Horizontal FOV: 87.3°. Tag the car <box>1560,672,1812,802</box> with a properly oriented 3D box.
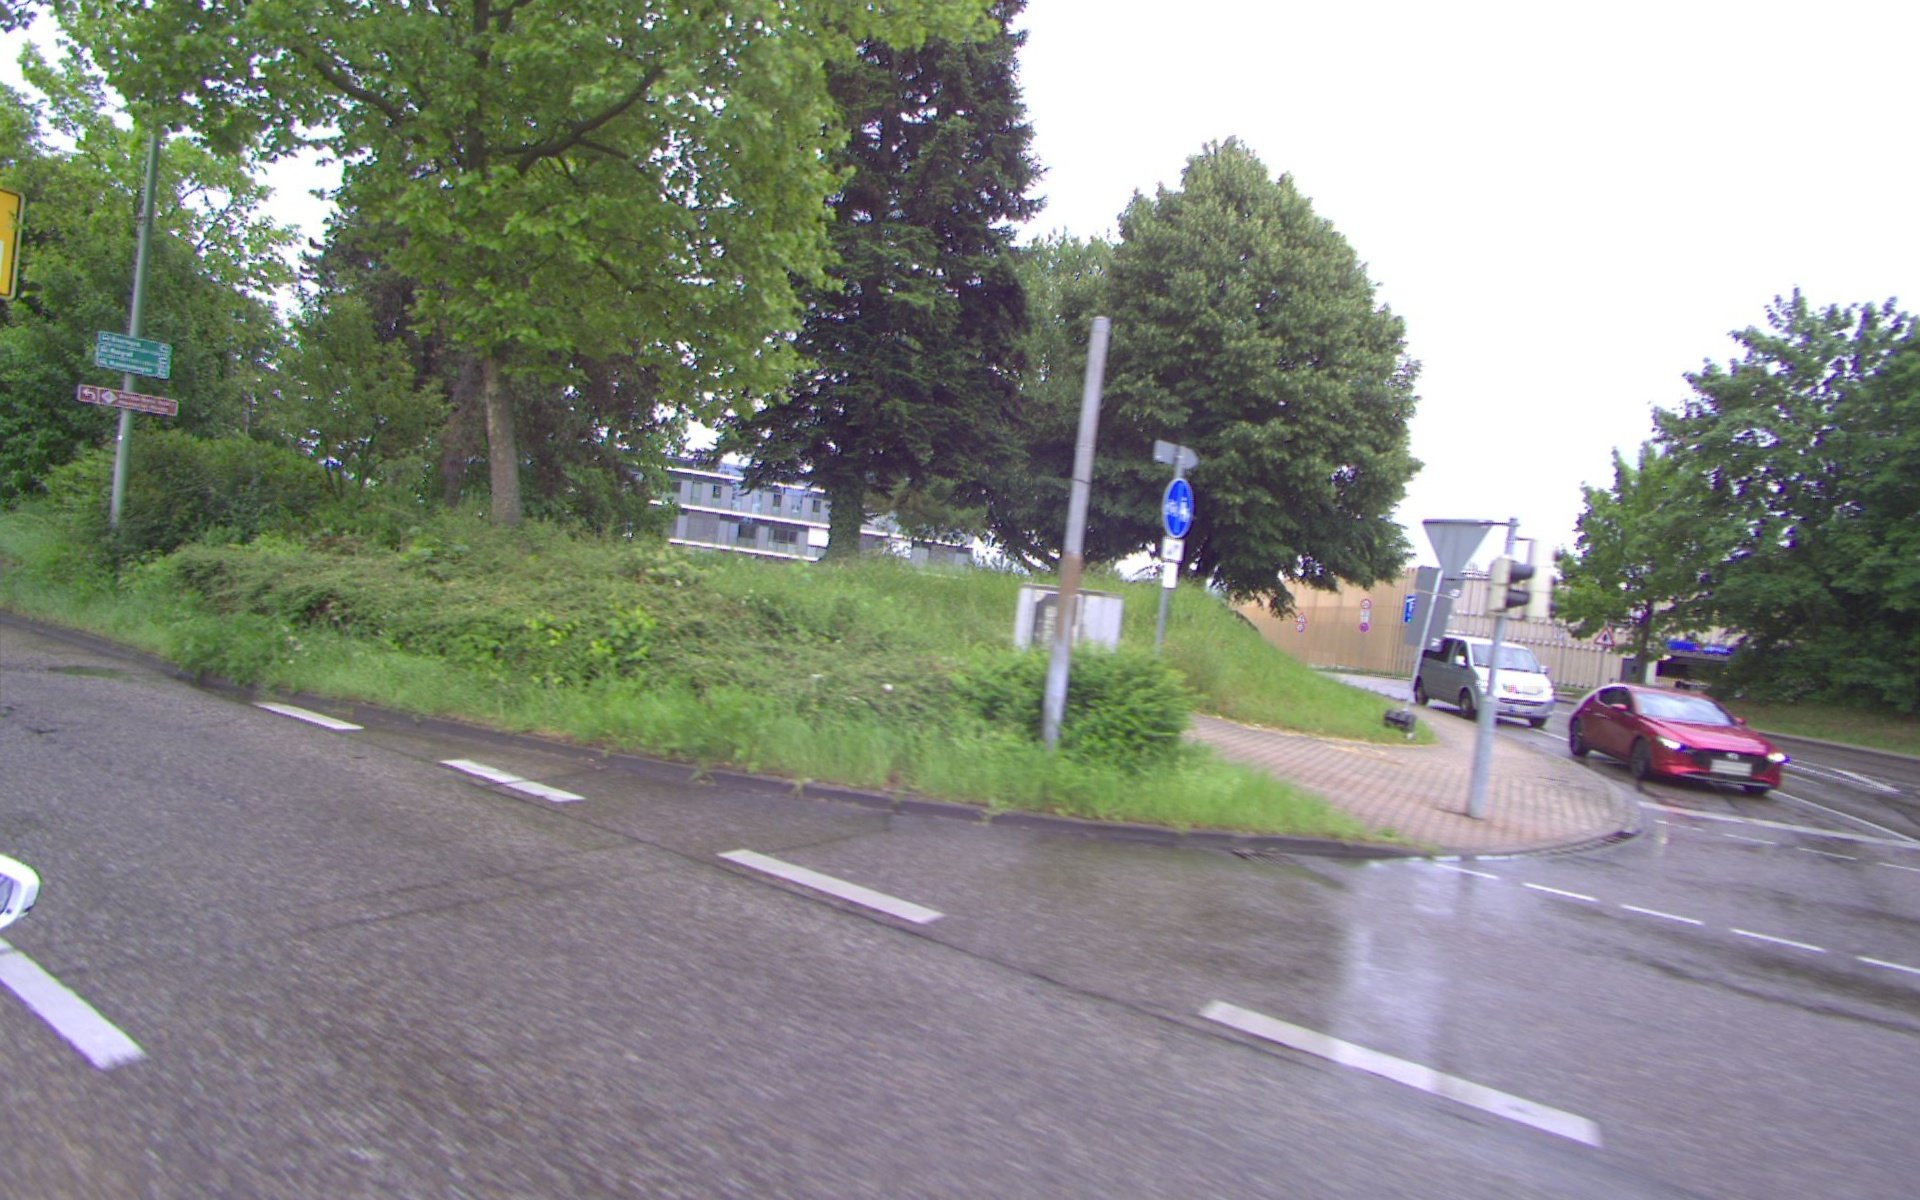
[{"bbox_3d":[11.865,2.161,16.822,1.817,1.447,3.999,6,1,12],"label":"car"}]

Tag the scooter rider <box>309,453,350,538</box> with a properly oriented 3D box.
[{"bbox_3d":[-15.421,-2.551,24.606,0.538,1.990,0.501,8,2,31],"label":"scooter rider"}]

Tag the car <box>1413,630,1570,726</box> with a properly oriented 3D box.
[{"bbox_3d":[13.132,1.863,25.169,1.817,1.883,3.999,5,1,4],"label":"car"}]
